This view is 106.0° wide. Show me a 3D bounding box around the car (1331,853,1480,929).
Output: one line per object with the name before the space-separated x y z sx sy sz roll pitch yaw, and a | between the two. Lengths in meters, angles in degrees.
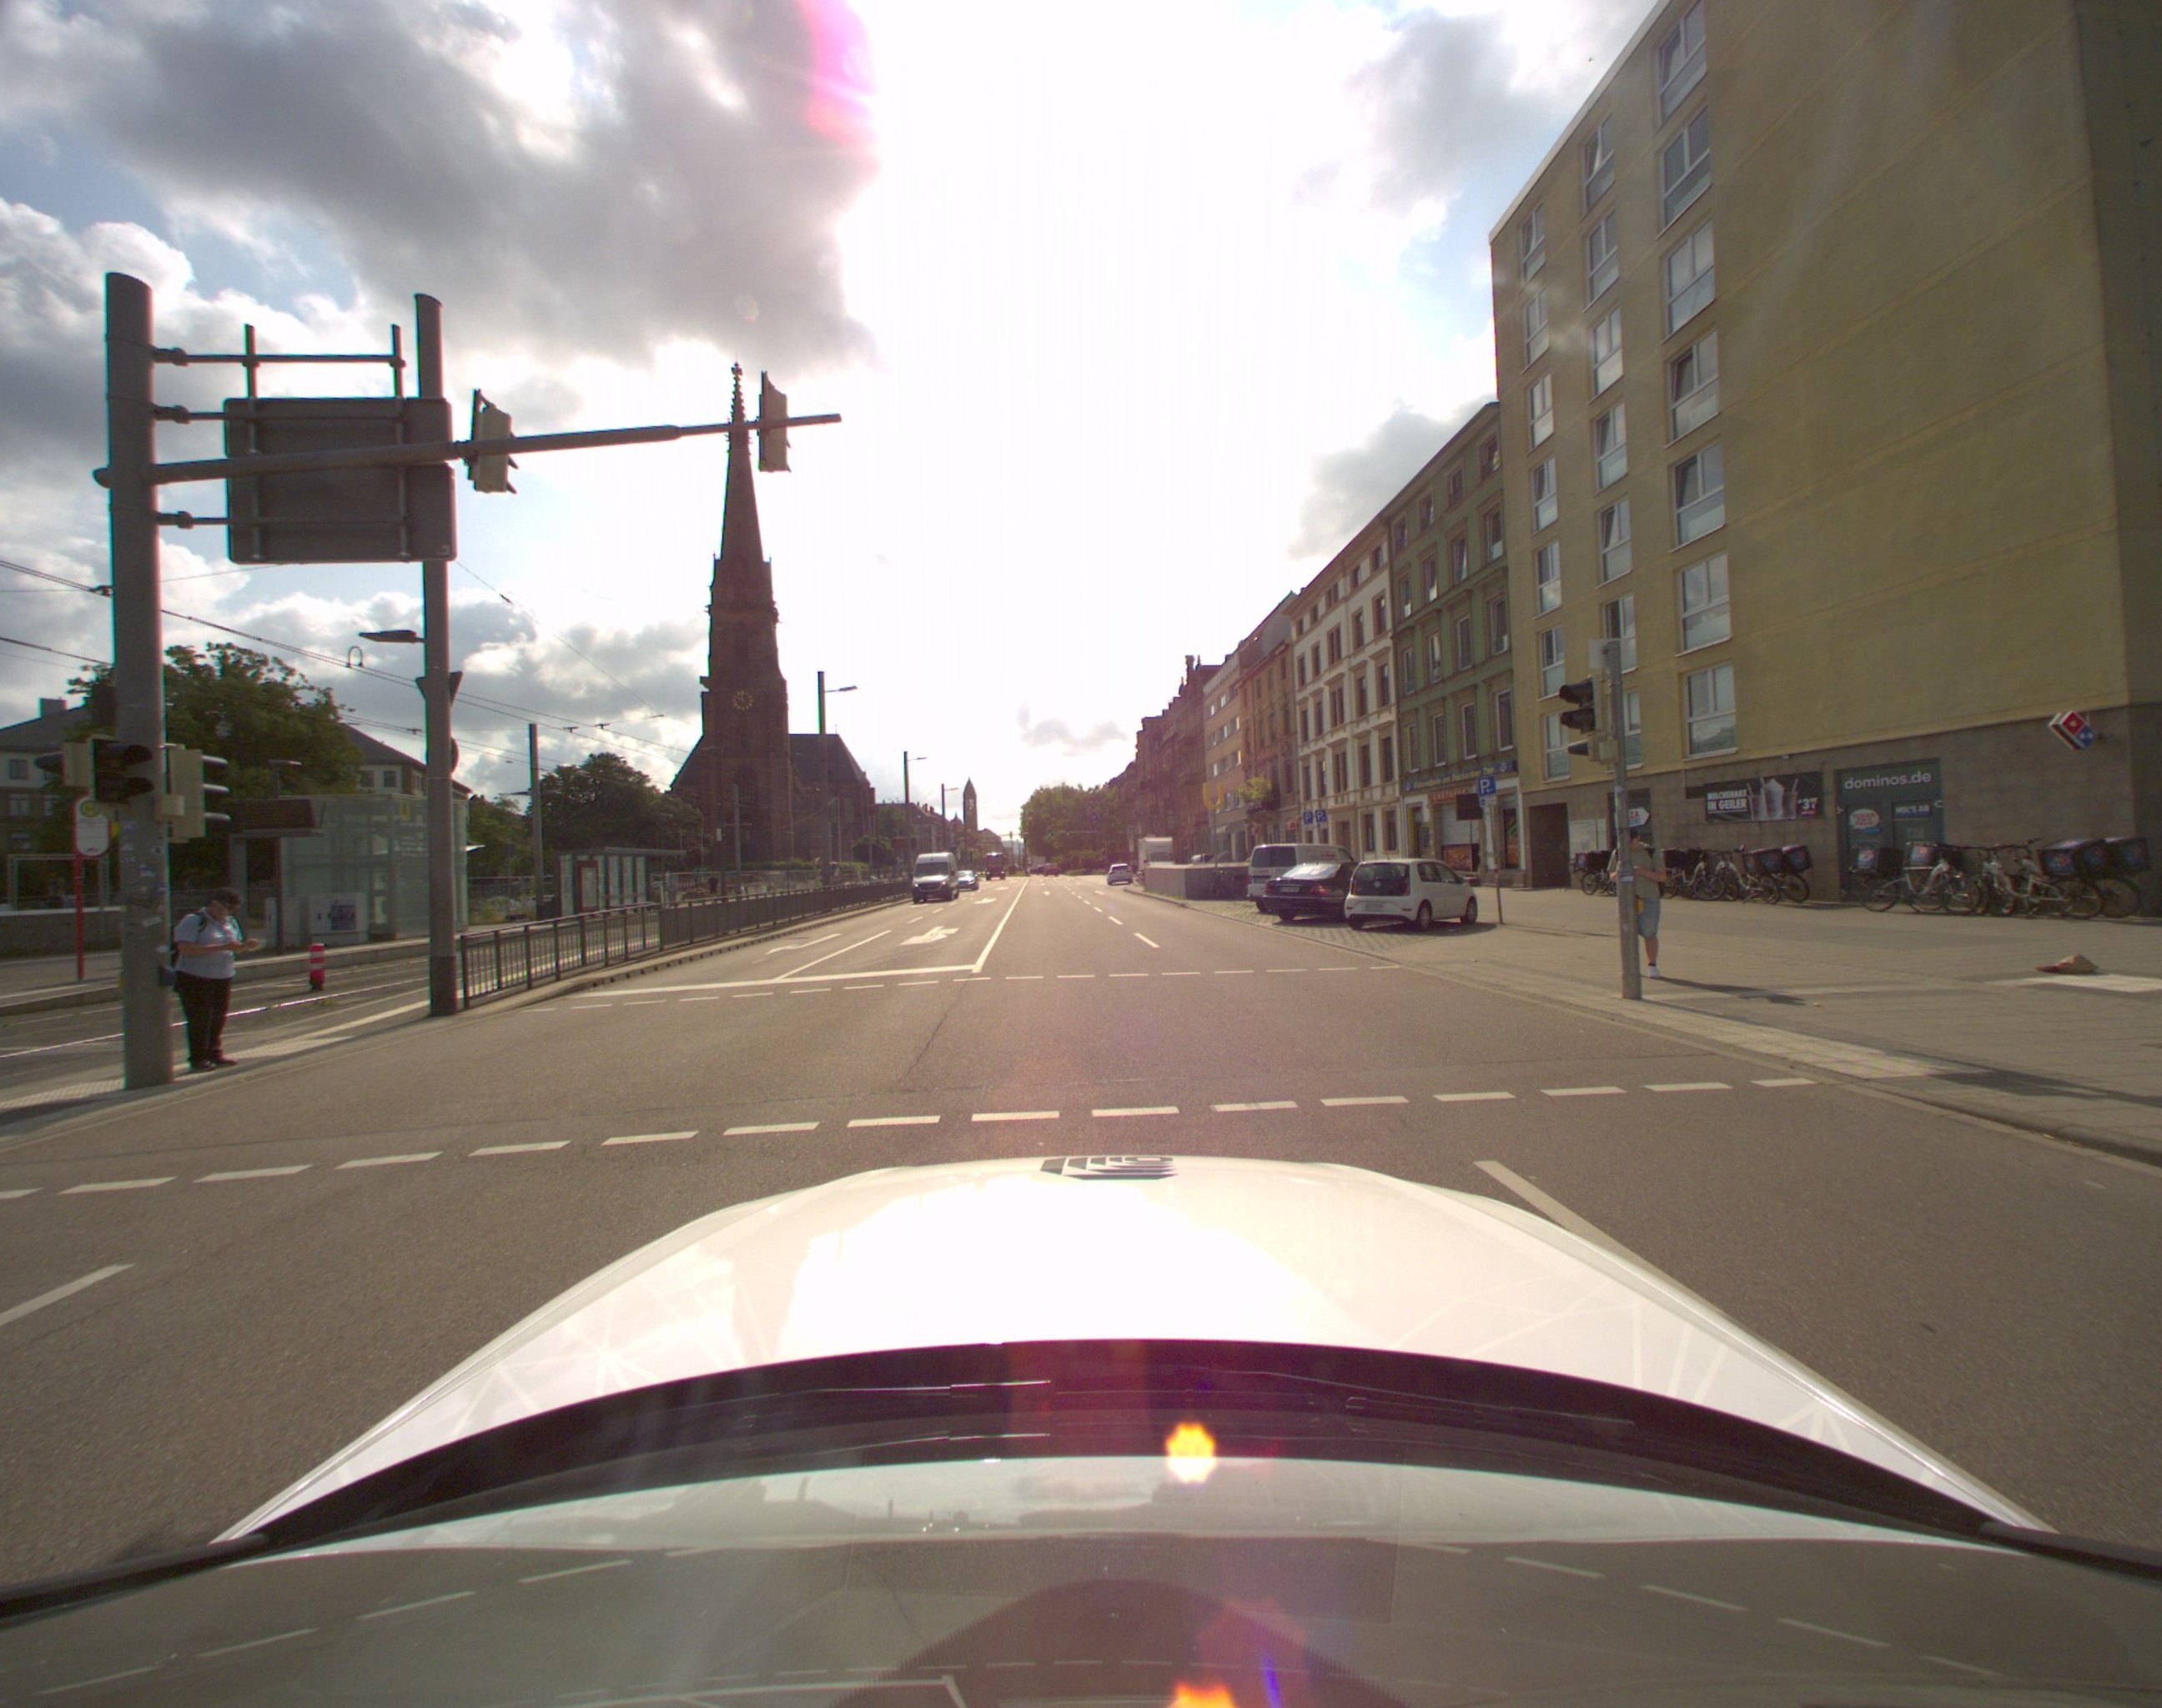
car | 7.036 0.721 17.520 3.532 1.440 1.698 -1 0 -44

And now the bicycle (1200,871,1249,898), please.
bicycle | 5.461 1.156 31.039 1.772 1.004 0.511 0 0 -9

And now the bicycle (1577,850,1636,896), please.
bicycle | 14.526 0.506 22.551 0.485 1.201 1.643 -2 1 -3

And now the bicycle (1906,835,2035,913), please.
bicycle | 15.592 0.314 14.336 0.484 1.272 1.646 -2 1 1

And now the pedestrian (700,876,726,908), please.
pedestrian | -21.681 2.215 48.042 0.993 1.799 1.047 0 3 2

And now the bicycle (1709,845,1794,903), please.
bicycle | 14.806 0.422 18.034 0.545 1.201 1.646 -2 1 1

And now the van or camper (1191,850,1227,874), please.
van or camper | 11.354 0.679 72.622 1.989 1.904 5.292 -4 1 -3

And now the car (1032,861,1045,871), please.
car | -6.729 1.902 128.804 1.990 1.508 3.993 -3 0 -5

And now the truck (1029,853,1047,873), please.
truck | -7.873 1.683 148.563 3.163 3.287 7.286 -1 -4 -3

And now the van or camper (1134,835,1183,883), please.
van or camper | 5.806 0.288 62.264 2.705 3.330 7.634 -2 1 -2

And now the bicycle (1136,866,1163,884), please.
bicycle | 4.537 1.394 54.050 1.762 1.085 0.370 -2 2 -16

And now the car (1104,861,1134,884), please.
car | 2.717 1.310 59.321 1.786 1.437 4.341 -6 0 -1

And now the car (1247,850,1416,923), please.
car | 6.423 0.726 20.489 1.867 1.468 5.094 -1 1 45

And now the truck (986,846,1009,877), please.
truck | -10.630 0.928 104.211 2.457 3.648 7.441 -3 0 -3

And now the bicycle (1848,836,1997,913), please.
bicycle | 15.029 0.331 14.625 0.486 1.272 1.883 -2 1 -11

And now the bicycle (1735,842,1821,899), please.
bicycle | 15.361 0.335 17.999 0.484 1.201 1.646 -2 1 1

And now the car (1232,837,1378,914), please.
car | 6.875 0.546 24.697 4.927 2.084 2.054 -1 2 -44

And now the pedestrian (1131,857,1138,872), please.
pedestrian | 7.650 1.487 115.719 0.884 2.013 0.995 0 0 -3

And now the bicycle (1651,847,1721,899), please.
bicycle | 14.777 0.441 19.945 0.484 1.201 1.646 -2 1 1

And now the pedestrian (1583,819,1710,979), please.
pedestrian | 6.629 0.515 9.562 0.997 1.760 0.779 0 -3 -28

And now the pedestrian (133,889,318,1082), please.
pedestrian | -8.204 1.214 7.855 0.841 1.673 0.794 -3 0 -5

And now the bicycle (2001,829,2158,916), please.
bicycle | 15.746 0.261 12.907 0.484 1.272 1.646 -2 1 1

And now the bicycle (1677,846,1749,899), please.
bicycle | 15.314 0.429 19.778 0.484 1.201 1.646 -2 1 1

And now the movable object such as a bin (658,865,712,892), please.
movable object such as a bin | -44.851 2.799 92.307 4.892 2.802 1.998 -3 -1 -3

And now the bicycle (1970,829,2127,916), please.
bicycle | 15.210 0.261 12.870 0.528 1.272 1.646 -2 1 1

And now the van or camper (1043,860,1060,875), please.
van or camper | -4.244 1.963 116.991 2.007 1.915 4.510 0 -3 -7

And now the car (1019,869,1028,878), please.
car | -11.531 3.929 162.934 1.767 1.662 3.994 -1 -4 -3

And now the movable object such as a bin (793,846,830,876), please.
movable object such as a bin | -35.595 0.910 107.741 2.653 3.730 5.601 -2 1 4

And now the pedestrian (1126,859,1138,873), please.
pedestrian | 4.910 1.138 78.265 0.749 1.316 0.812 0 0 -42

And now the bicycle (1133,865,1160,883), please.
bicycle | 4.379 1.331 54.556 1.758 1.085 0.371 -1 2 -9

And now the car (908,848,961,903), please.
car | -7.757 1.057 43.618 1.990 2.621 5.573 -3 1 -4

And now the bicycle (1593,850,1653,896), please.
bicycle | 15.040 0.509 22.646 0.485 1.201 1.643 -2 1 -3

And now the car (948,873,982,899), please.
car | -8.281 2.289 58.550 1.845 1.455 4.551 -3 2 -2

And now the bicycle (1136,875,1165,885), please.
bicycle | 4.274 1.587 49.993 0.642 0.586 1.749 -3 1 -43
